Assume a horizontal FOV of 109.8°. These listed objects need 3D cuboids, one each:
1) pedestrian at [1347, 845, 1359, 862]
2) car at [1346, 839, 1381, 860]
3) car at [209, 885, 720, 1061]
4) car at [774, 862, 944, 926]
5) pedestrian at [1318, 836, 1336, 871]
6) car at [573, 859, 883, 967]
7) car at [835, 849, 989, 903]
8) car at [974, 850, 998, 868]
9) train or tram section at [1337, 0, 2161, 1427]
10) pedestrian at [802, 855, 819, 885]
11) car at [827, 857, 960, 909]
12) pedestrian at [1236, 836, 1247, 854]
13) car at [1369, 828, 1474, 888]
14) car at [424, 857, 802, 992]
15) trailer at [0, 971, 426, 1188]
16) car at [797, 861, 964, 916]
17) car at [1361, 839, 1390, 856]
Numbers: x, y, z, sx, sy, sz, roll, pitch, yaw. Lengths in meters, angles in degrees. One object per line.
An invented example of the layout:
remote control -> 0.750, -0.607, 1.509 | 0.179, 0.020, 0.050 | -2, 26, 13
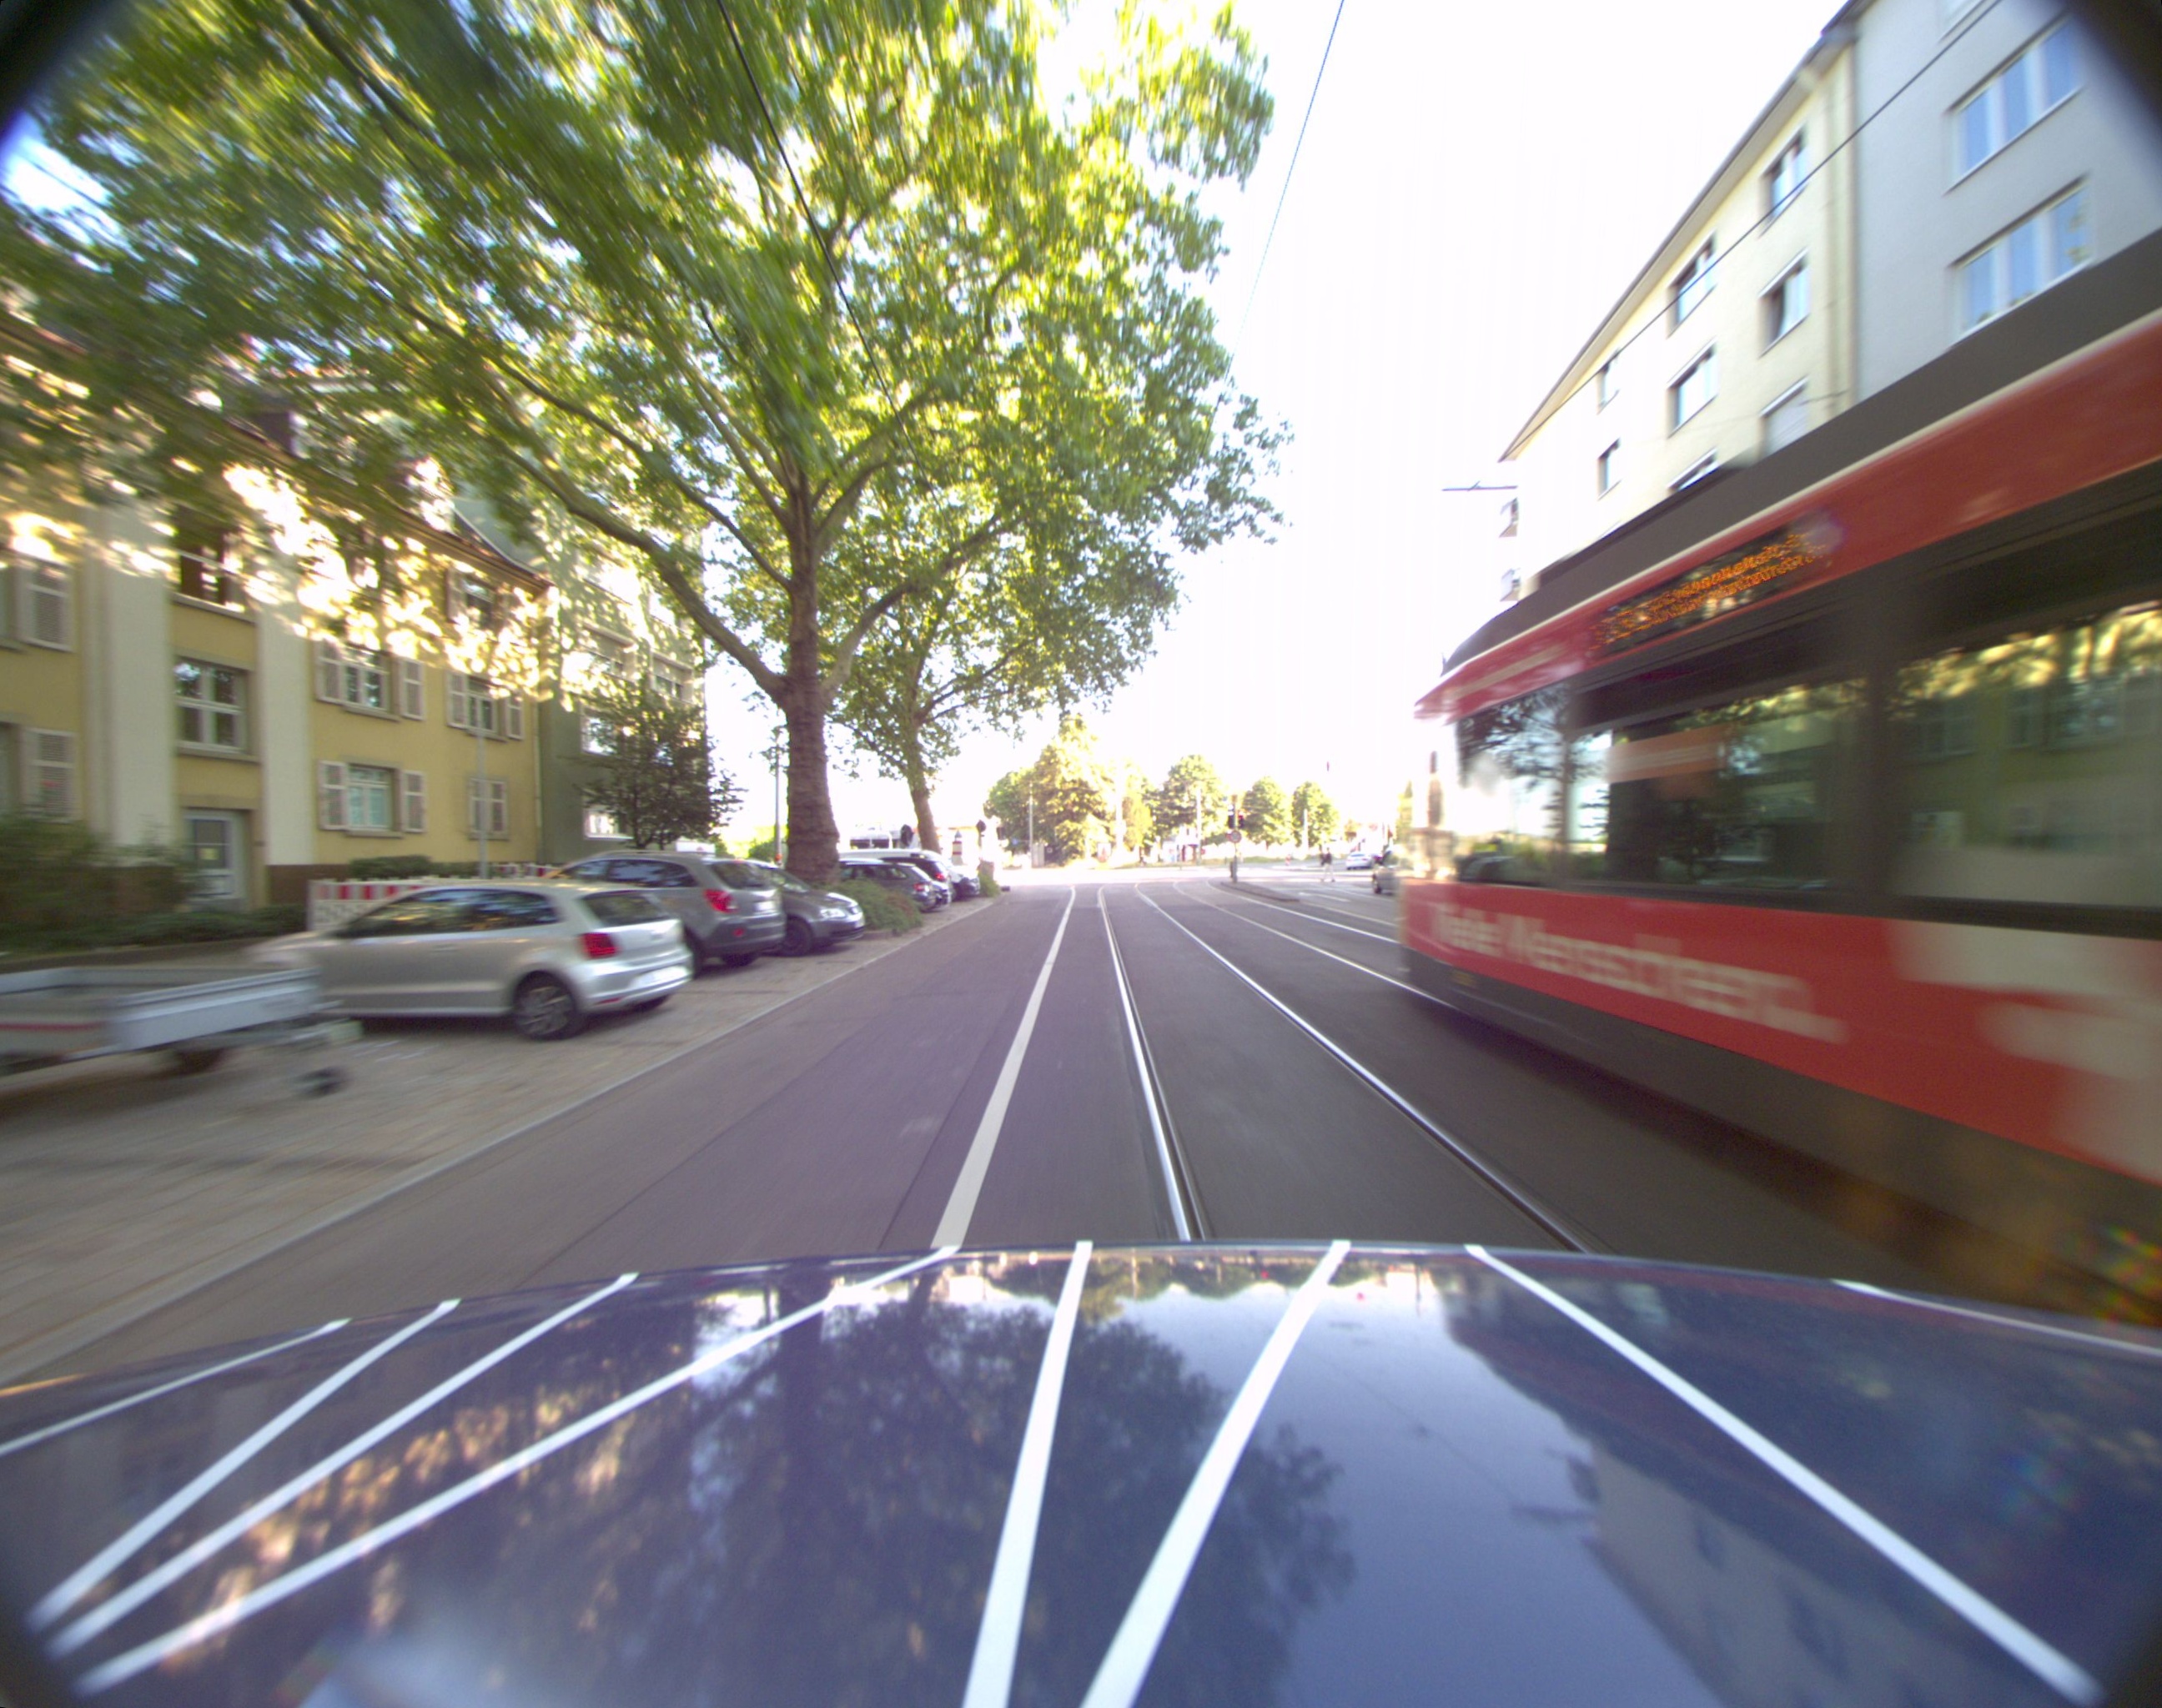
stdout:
pedestrian -> 32.688, -0.062, 91.343 | 1.001, 2.002, 0.876 | -2, 1, -20
car -> 22.203, -0.371, 59.706 | 1.814, 1.419, 3.747 | -4, -1, 32
car -> -5.928, 1.089, 7.670 | 3.660, 1.416, 1.865 | 1, 0, 2
car -> -5.651, 0.995, 19.717 | 3.891, 1.489, 1.741 | -1, 1, -2
pedestrian -> 12.011, -0.010, 37.136 | 0.753, 1.670, 0.794 | -1, 1, 15
car -> -5.911, 0.953, 13.162 | 4.436, 1.648, 1.907 | -1, 1, -1
car -> -6.029, 0.758, 27.587 | 5.126, 1.845, 1.914 | 0, 2, 0
car -> -8.611, 0.485, 68.808 | 1.642, 1.428, 3.568 | -4, -1, -14
train or tram section -> 4.058, -0.357, 1.148 | 2.916, 3.466, 13.367 | -2, 1, 1
pedestrian -> -14.799, 0.876, 41.593 | 0.688, 1.622, 0.640 | -3, 2, -36
car -> -6.100, 0.926, 25.016 | 3.884, 1.596, 1.795 | -1, 1, 0
pedestrian -> 17.717, -1.016, 83.864 | 0.913, 2.002, 0.860 | -2, 1, -4
car -> 11.223, 0.101, 25.351 | 1.997, 1.822, 4.226 | -1, 1, 6
car -> -6.490, 0.919, 10.847 | 4.318, 1.721, 1.841 | 0, 0, 5
trailer -> -6.443, 1.378, 5.077 | 3.046, 0.898, 1.437 | 0, 1, 7
car -> -5.840, 0.991, 22.497 | 4.410, 1.514, 1.818 | -1, 0, 1
car -> 24.742, -0.558, 63.858 | 1.638, 1.315, 3.345 | -4, -1, 32
